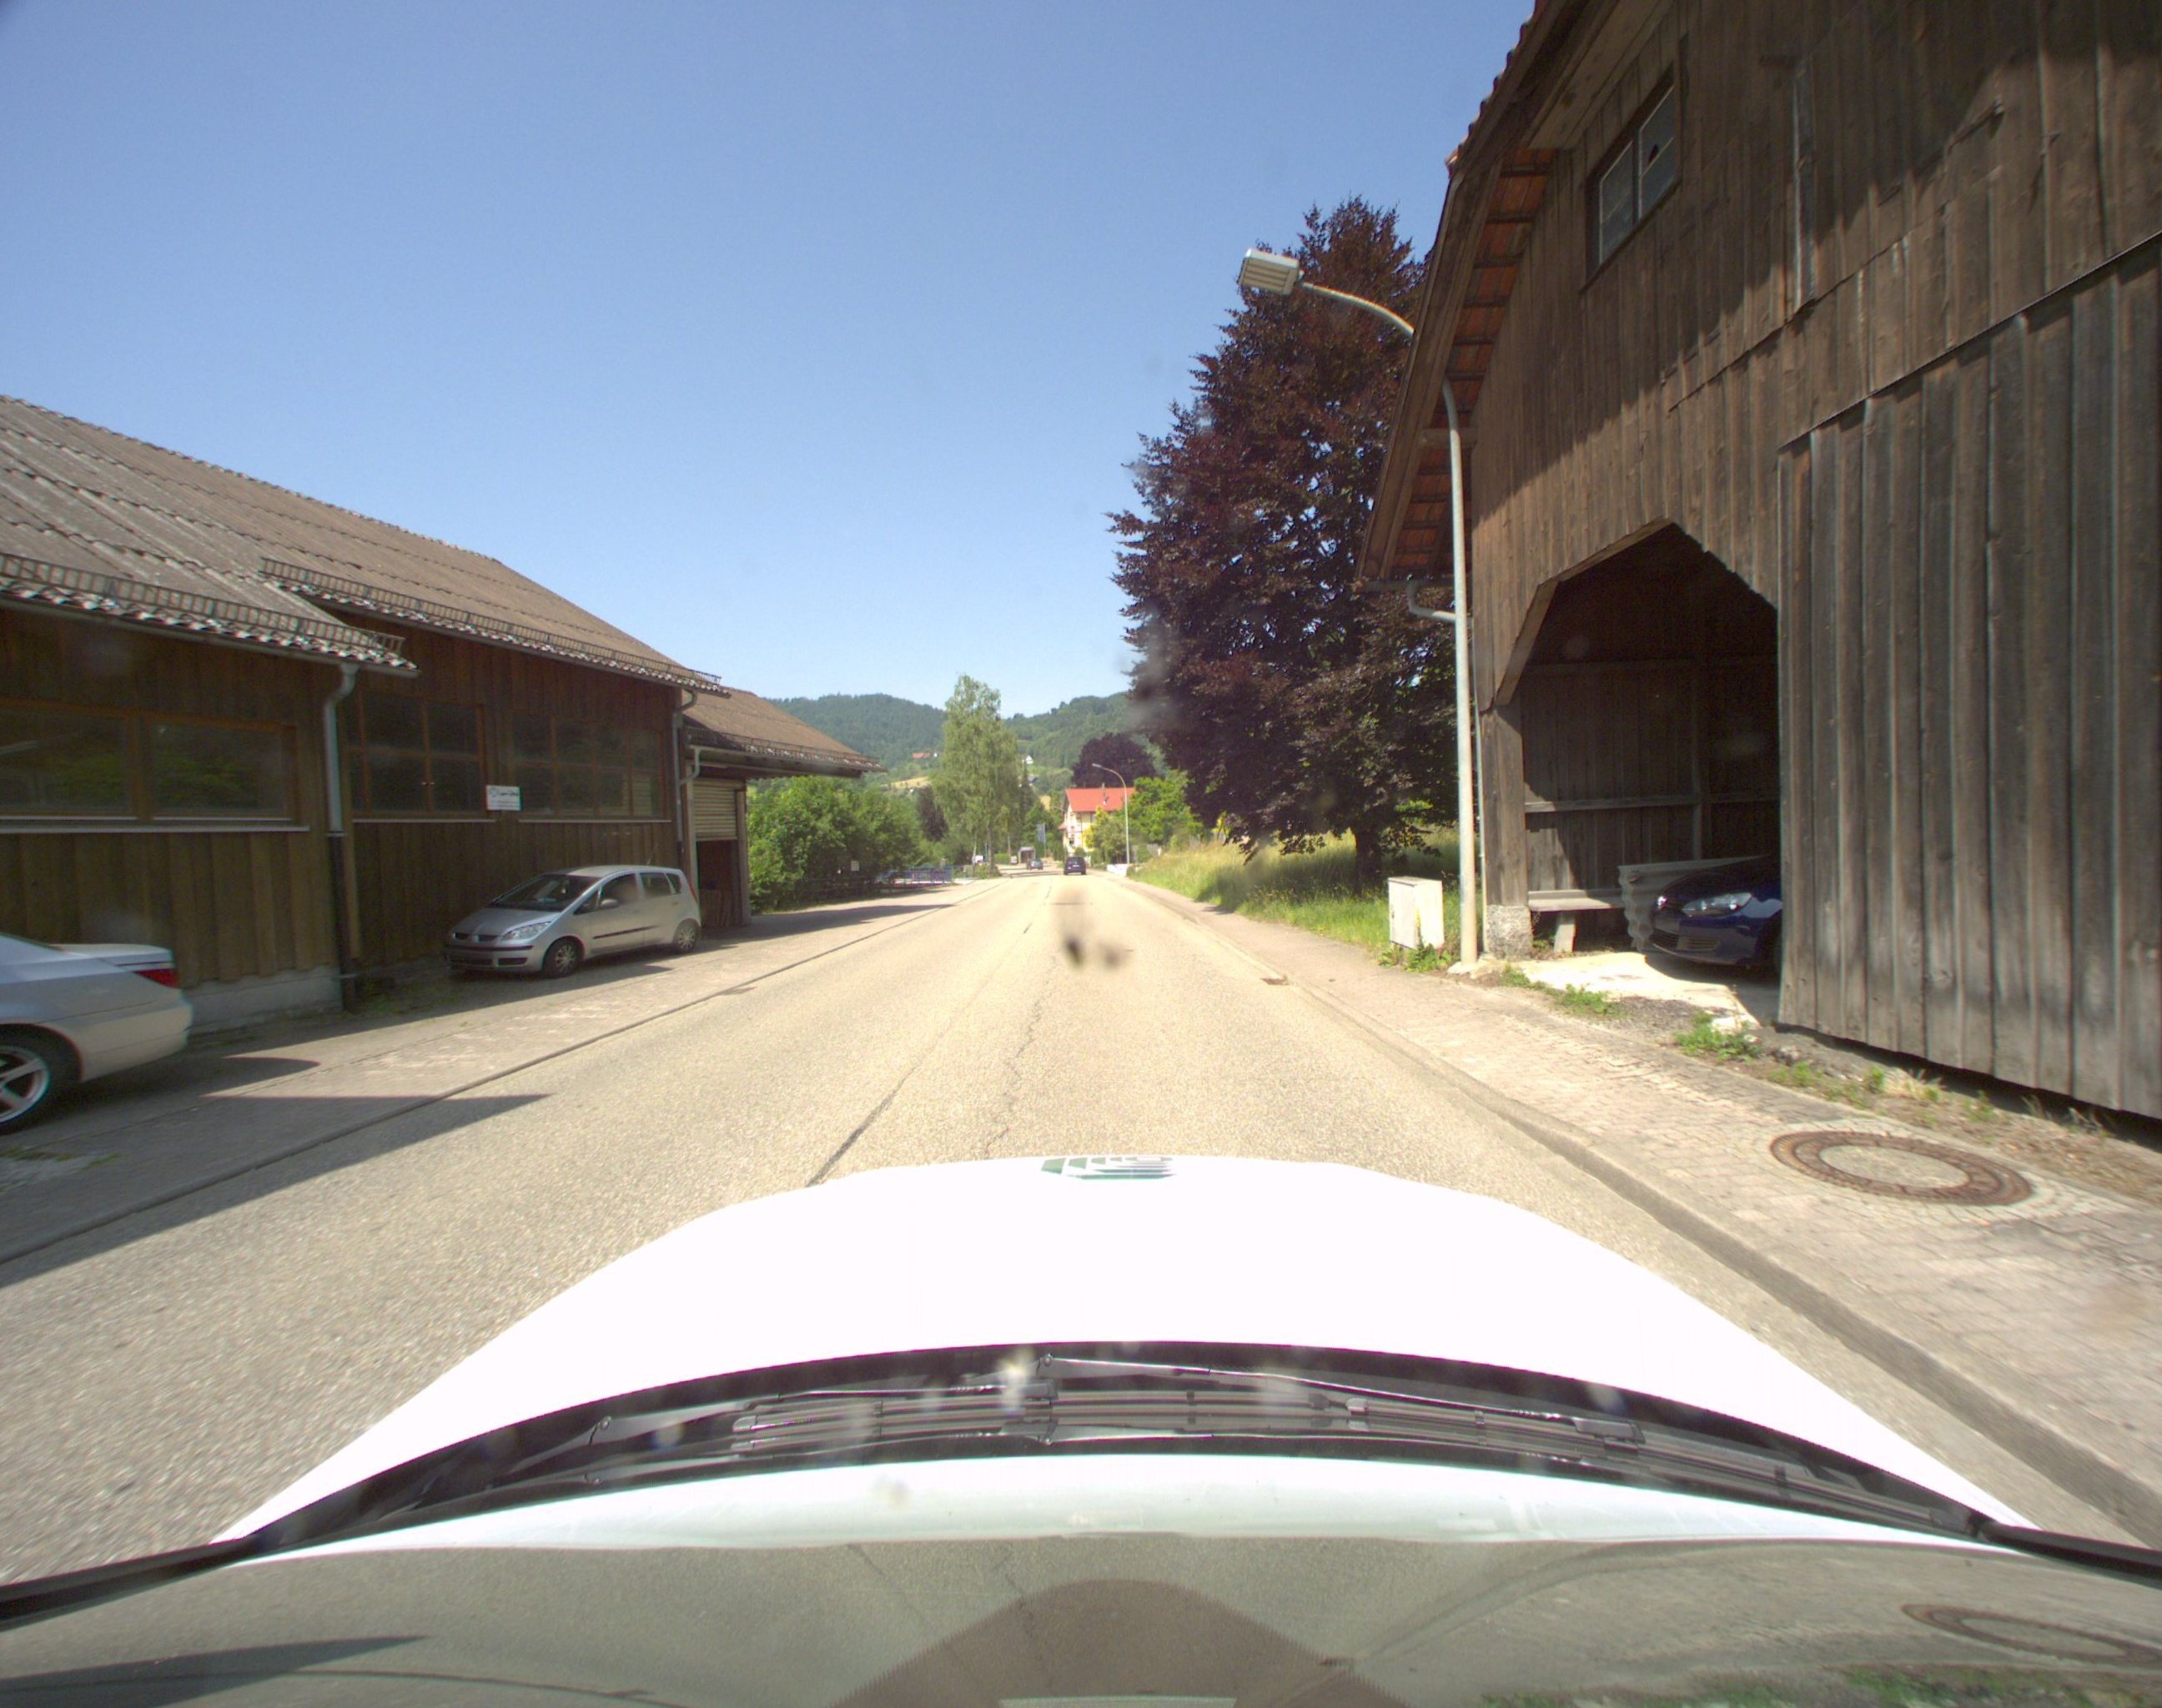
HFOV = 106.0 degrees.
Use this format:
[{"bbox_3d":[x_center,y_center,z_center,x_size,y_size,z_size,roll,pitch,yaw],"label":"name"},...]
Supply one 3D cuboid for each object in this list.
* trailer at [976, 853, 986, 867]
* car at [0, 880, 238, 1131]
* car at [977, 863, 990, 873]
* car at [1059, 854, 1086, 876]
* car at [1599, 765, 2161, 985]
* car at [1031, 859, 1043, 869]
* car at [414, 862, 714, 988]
[{"bbox_3d":[-16.588,1.000,134.371,1.466,2.077,3.660,-3,0,-8],"label":"trailer"},{"bbox_3d":[-7.785,1.023,3.945,1.715,1.453,4.826,-2,1,16],"label":"car"},{"bbox_3d":[-15.534,2.174,129.980,1.814,1.500,4.135,-3,0,-10],"label":"car"},{"bbox_3d":[-0.776,0.924,69.282,1.917,1.698,3.781,-3,0,-5],"label":"car"},{"bbox_3d":[6.989,0.158,6.937,3.954,1.507,1.880,-4,1,18],"label":"car"},{"bbox_3d":[-5.640,1.286,104.967,1.473,1.209,2.382,-4,0,-2],"label":"car"},{"bbox_3d":[-7.918,0.966,12.977,1.569,1.570,4.039,1,1,14],"label":"car"}]
